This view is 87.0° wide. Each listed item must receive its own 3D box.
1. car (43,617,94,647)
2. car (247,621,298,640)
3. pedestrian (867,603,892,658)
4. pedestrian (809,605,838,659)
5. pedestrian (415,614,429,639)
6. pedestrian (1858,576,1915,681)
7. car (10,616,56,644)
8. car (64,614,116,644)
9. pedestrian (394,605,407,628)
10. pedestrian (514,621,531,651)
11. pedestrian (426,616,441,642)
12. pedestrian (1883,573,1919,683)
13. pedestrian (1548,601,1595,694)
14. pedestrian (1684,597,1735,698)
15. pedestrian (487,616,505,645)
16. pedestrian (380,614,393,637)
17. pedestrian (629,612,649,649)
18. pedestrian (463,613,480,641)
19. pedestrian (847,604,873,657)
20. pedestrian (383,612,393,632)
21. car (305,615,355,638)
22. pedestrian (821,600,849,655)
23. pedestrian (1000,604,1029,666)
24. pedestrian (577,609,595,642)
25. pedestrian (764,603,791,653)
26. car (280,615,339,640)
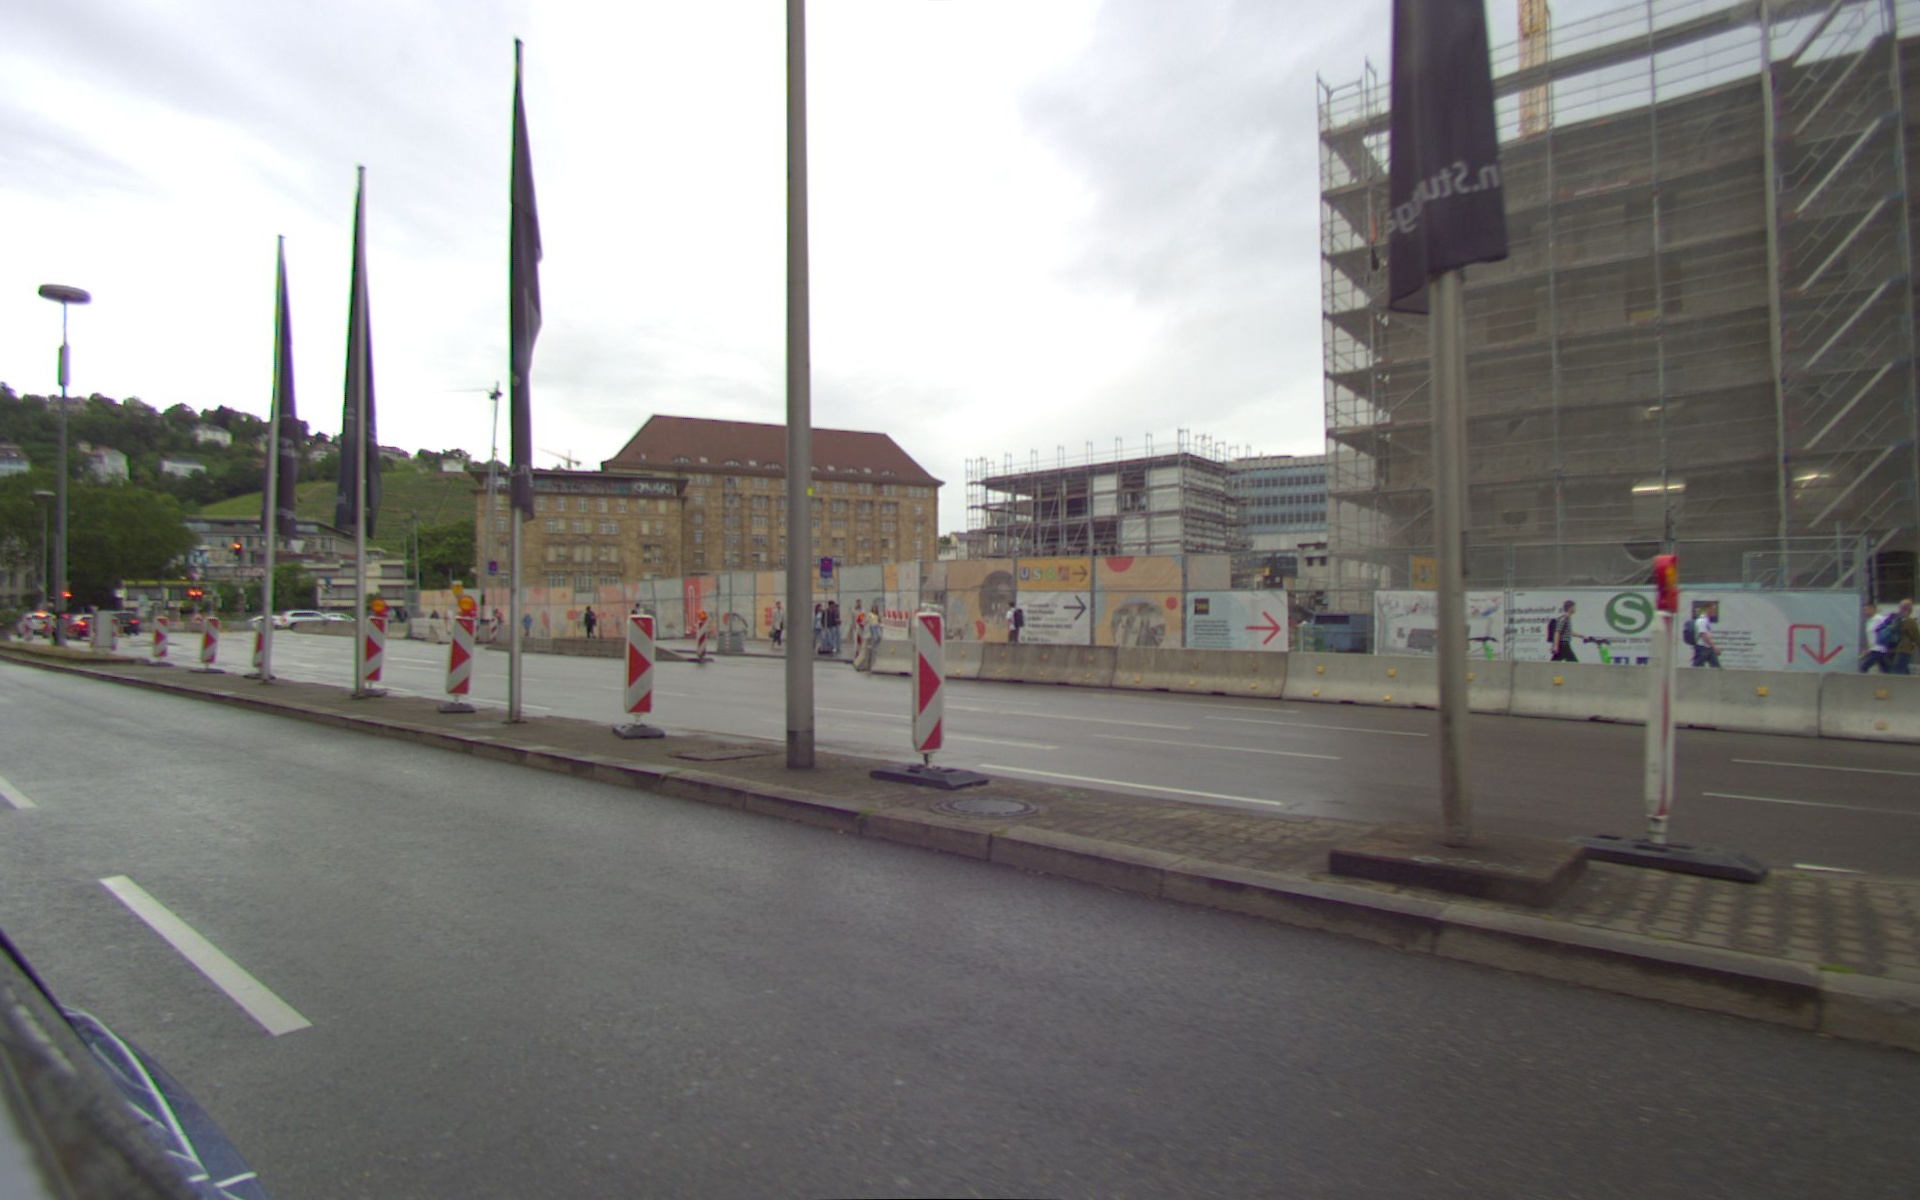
[{"bbox_3d":[-54.981,1.941,62.388,3.913,1.707,1.763,0,0,39],"label":"car"},{"bbox_3d":[-72.211,3.161,106.307,4.137,1.871,1.833,-1,0,-44],"label":"car"},{"bbox_3d":[-2.768,1.022,34.722,0.651,1.850,0.557,-1,0,-29],"label":"pedestrian"},{"bbox_3d":[-4.533,1.047,33.616,0.704,1.746,0.719,-1,0,-31],"label":"pedestrian"},{"bbox_3d":[-36.204,1.767,68.105,0.544,1.628,0.706,-1,0,41],"label":"pedestrian"},{"bbox_3d":[16.659,0.498,18.209,0.717,1.850,0.475,-1,0,41],"label":"pedestrian"},{"bbox_3d":[-62.202,1.990,67.895,3.913,1.707,1.763,0,0,39],"label":"car"},{"bbox_3d":[-50.938,1.654,59.228,3.914,1.707,1.762,-1,-1,41],"label":"car"},{"bbox_3d":[-40.408,1.169,73.061,0.705,1.628,0.544,-1,0,-45],"label":"pedestrian"},{"bbox_3d":[-24.186,2.005,55.973,0.544,1.628,0.706,-1,0,41],"label":"pedestrian"},{"bbox_3d":[-33.541,1.834,64.449,0.544,1.628,0.706,-1,0,41],"label":"pedestrian"},{"bbox_3d":[16.293,0.470,17.315,0.717,1.850,0.475,-1,0,41],"label":"pedestrian"},{"bbox_3d":[12.458,0.953,20.618,0.717,1.850,0.579,-1,0,41],"label":"pedestrian"},{"bbox_3d":[14.020,0.872,18.940,0.717,1.850,0.475,-1,0,41],"label":"pedestrian"},{"bbox_3d":[-25.986,1.705,56.669,0.544,1.628,0.706,-1,0,41],"label":"pedestrian"},{"bbox_3d":[-41.045,1.836,72.436,0.705,1.628,0.544,-1,0,-45],"label":"pedestrian"},{"bbox_3d":[-14.367,1.342,45.298,0.544,1.628,0.706,-1,0,41],"label":"pedestrian"},{"bbox_3d":[-28.854,1.588,59.787,0.544,1.628,0.706,-1,0,41],"label":"pedestrian"},{"bbox_3d":[-3.406,1.031,34.364,0.704,1.757,0.565,-1,0,-29],"label":"pedestrian"},{"bbox_3d":[-46.914,1.805,83.036,0.704,1.628,0.545,-1,0,-30],"label":"pedestrian"},{"bbox_3d":[-58.431,2.412,93.886,3.932,2.029,2.006,-1,0,-33],"label":"car"},{"bbox_3d":[-4.274,0.915,34.635,0.704,1.850,0.719,-1,0,-31],"label":"pedestrian"},{"bbox_3d":[1.646,1.039,30.509,0.717,1.850,0.475,-1,0,41],"label":"pedestrian"},{"bbox_3d":[-19.215,1.302,52.027,0.544,1.628,0.706,-1,0,41],"label":"pedestrian"},{"bbox_3d":[-6.808,1.039,37.739,0.720,1.850,0.656,-1,0,41],"label":"pedestrian"},{"bbox_3d":[-57.510,2.424,89.568,4.328,2.029,2.006,-1,0,-33],"label":"car"}]
